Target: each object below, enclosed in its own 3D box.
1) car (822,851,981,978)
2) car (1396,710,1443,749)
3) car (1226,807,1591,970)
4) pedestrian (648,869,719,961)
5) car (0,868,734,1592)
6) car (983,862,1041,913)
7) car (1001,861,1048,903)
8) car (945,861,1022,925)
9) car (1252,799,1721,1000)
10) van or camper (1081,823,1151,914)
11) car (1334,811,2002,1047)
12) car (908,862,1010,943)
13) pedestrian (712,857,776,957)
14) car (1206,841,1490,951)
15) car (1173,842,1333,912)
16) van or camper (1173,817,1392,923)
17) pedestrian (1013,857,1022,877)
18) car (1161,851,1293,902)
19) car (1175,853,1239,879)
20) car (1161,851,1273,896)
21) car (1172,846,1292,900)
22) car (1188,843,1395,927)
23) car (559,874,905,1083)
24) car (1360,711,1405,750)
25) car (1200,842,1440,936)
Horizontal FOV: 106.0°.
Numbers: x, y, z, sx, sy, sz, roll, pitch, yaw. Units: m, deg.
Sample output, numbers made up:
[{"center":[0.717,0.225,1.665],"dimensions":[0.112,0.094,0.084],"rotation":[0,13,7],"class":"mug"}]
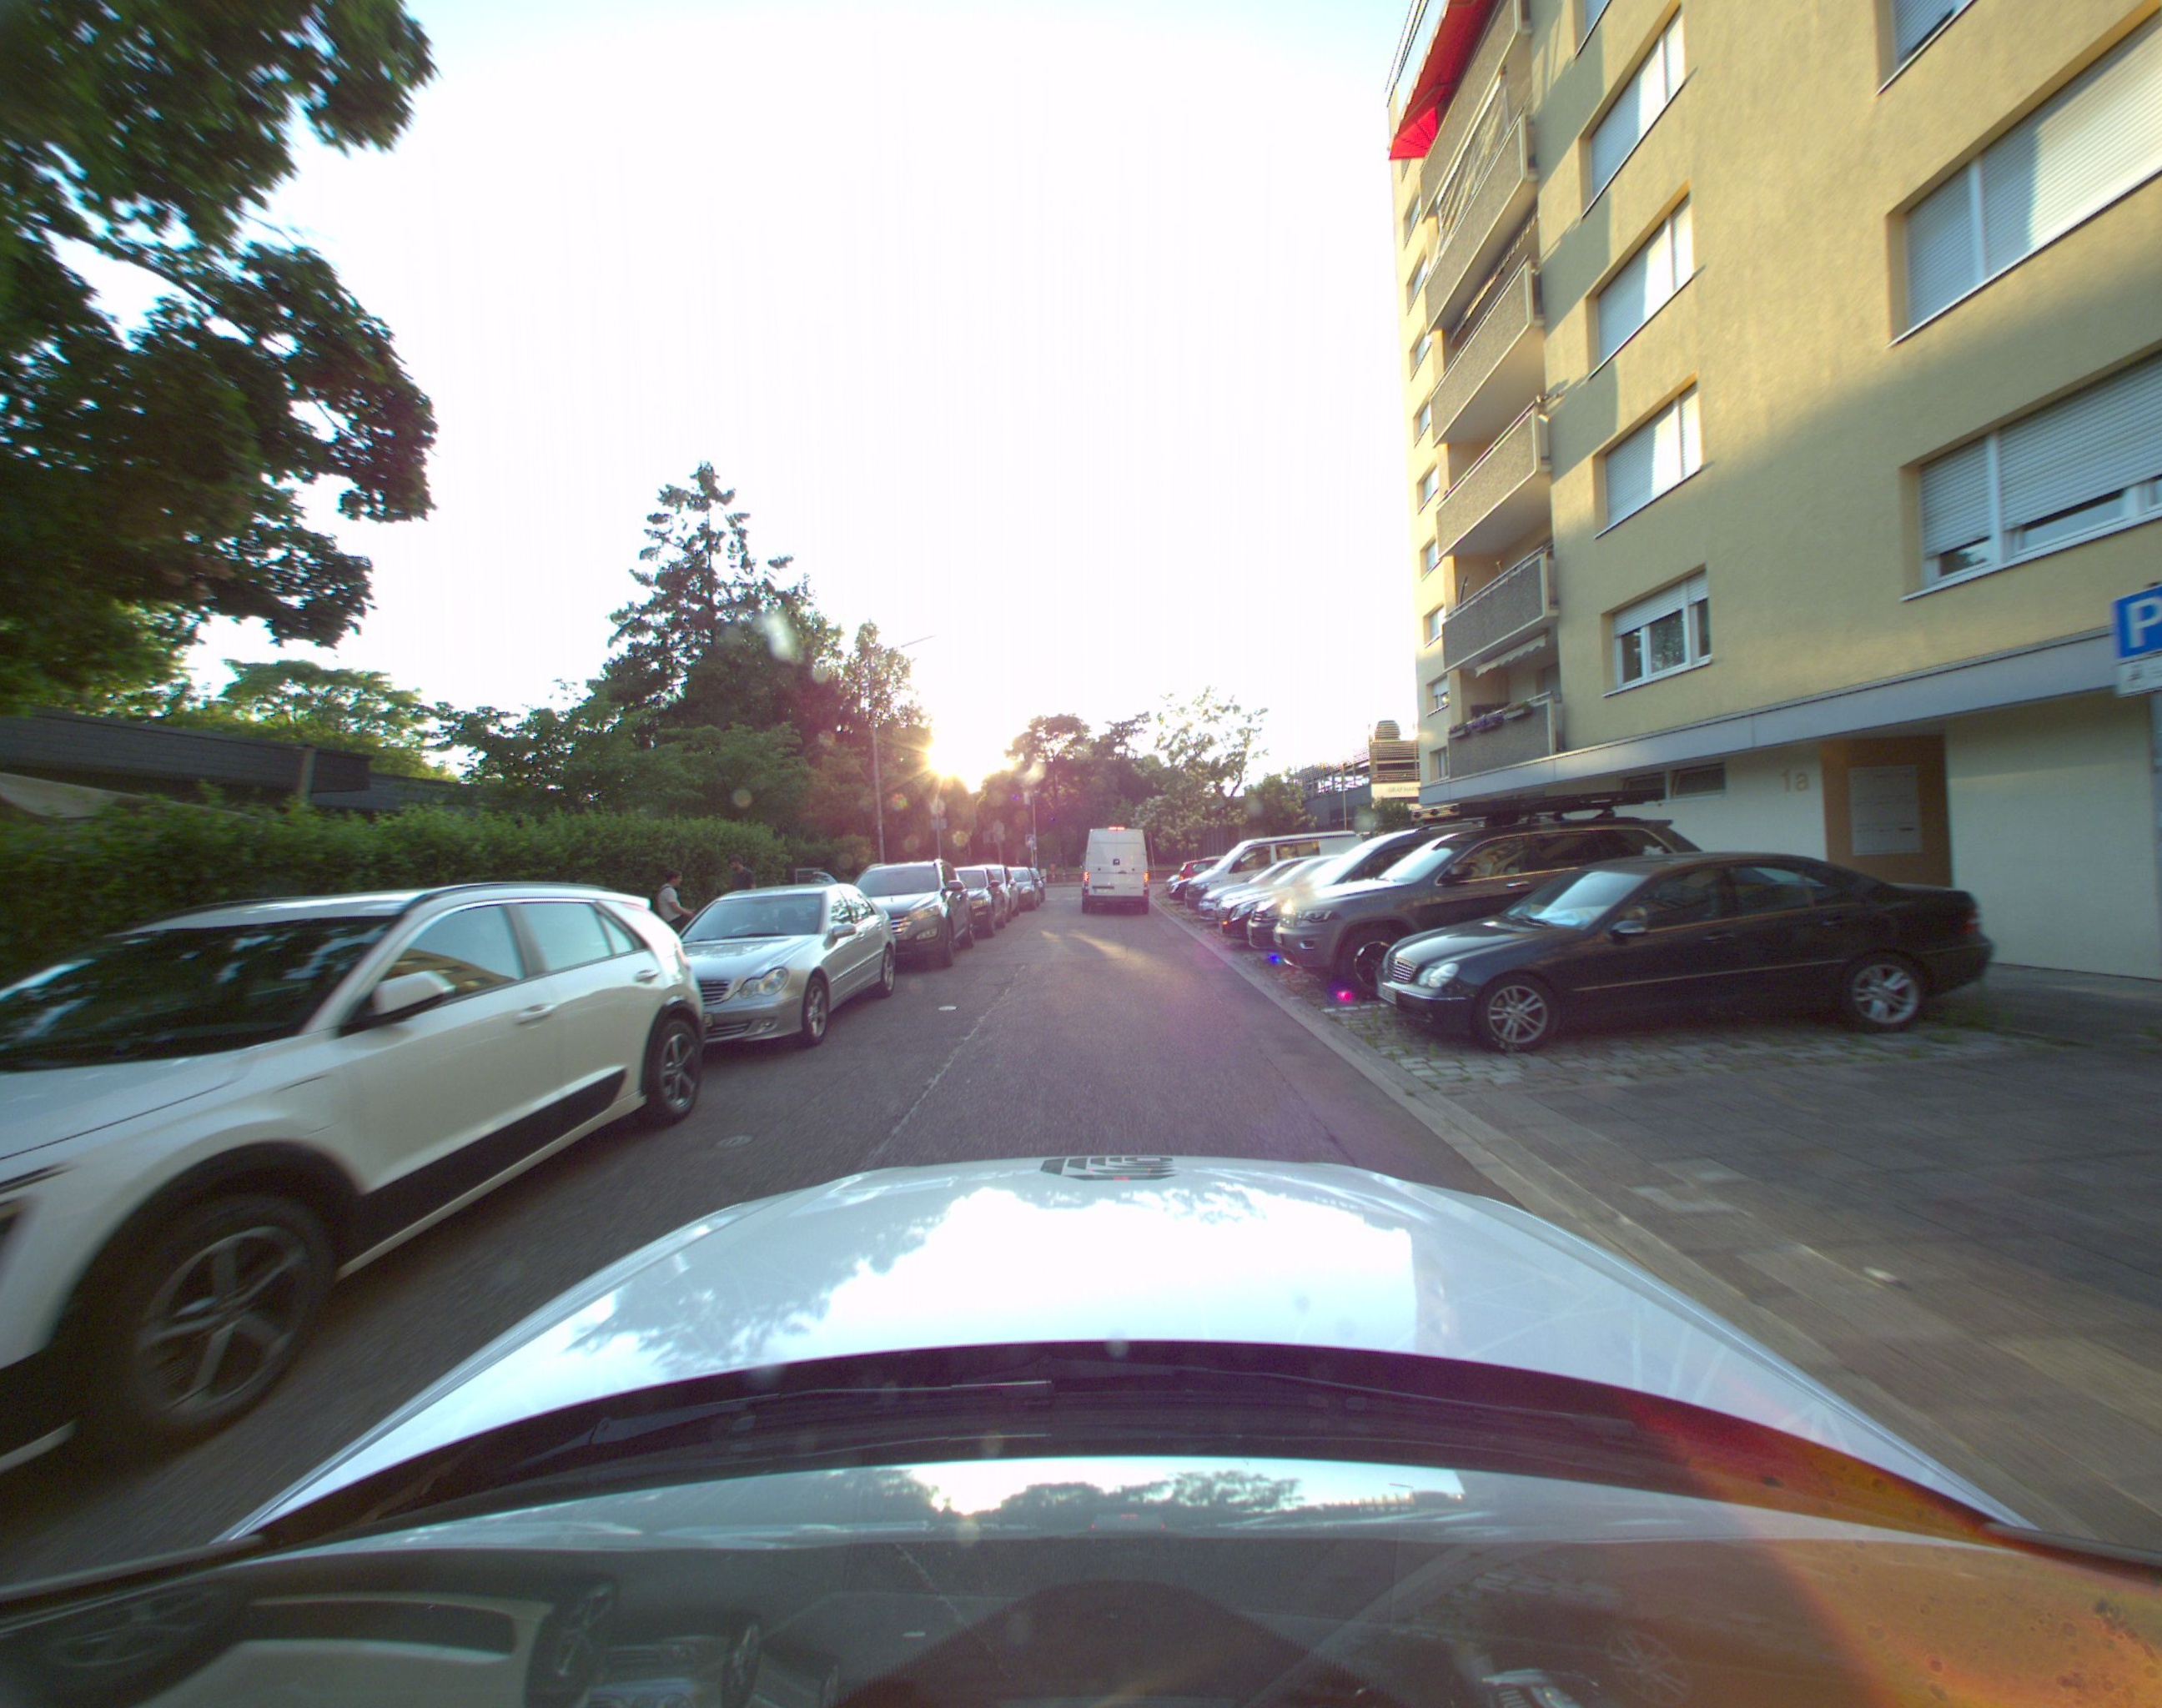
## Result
[{"center":[-2.848,0.888,13.893],"dimensions":[1.729,1.730,4.320],"rotation":[-3,0,-1],"class":"car"},{"center":[23.534,-8.603,56.740],"dimensions":[1.983,2.014,4.007],"rotation":[-1,-1,7],"class":"car"},{"center":[4.685,0.516,12.192],"dimensions":[4.621,1.981,1.845],"rotation":[-3,-3,1],"class":"car"},{"center":[-6.789,1.018,13.957],"dimensions":[0.745,1.508,0.901],"rotation":[1,-1,0],"class":"pedestrian"},{"center":[-3.303,0.900,3.523],"dimensions":[1.754,1.543,4.278],"rotation":[-3,0,-1],"class":"car"},{"center":[-2.362,1.111,28.727],"dimensions":[1.729,1.567,3.695],"rotation":[-3,0,-1],"class":"car"},{"center":[-2.334,1.119,34.395],"dimensions":[1.729,1.567,3.788],"rotation":[-3,0,-1],"class":"car"},{"center":[-2.724,1.050,23.525],"dimensions":[1.729,1.567,4.127],"rotation":[-3,0,-1],"class":"car"},{"center":[4.483,0.491,9.548],"dimensions":[4.497,1.863,1.846],"rotation":[-3,-1,1],"class":"car"},{"center":[1.105,0.448,27.015],"dimensions":[1.986,2.618,6.404],"rotation":[-1,-1,2],"class":"van or camper"},{"center":[4.718,0.620,7.152],"dimensions":[4.385,1.554,1.847],"rotation":[-3,-3,3],"class":"car"},{"center":[-2.705,1.020,18.960],"dimensions":[1.729,1.567,4.165],"rotation":[-3,0,-1],"class":"car"},{"center":[-6.059,0.922,14.648],"dimensions":[0.755,1.732,0.891],"rotation":[2,-1,-45],"class":"pedestrian"},{"center":[4.586,0.737,14.492],"dimensions":[4.388,1.563,1.845],"rotation":[-3,-3,1],"class":"car"},{"center":[5.085,0.700,24.445],"dimensions":[4.314,1.661,1.780],"rotation":[-5,-3,-1],"class":"car"},{"center":[5.202,0.423,21.543],"dimensions":[5.118,2.167,2.039],"rotation":[-6,-1,-1],"class":"van or camper"},{"center":[-5.064,1.042,65.353],"dimensions":[0.644,1.649,0.674],"rotation":[0,0,1],"class":"pedestrian"},{"center":[5.234,0.843,29.613],"dimensions":[4.391,1.531,1.844],"rotation":[-3,-3,-1],"class":"car"},{"center":[8.088,0.778,52.528],"dimensions":[3.843,1.574,1.957],"rotation":[-1,0,-1],"class":"car"},{"center":[5.762,0.847,34.929],"dimensions":[4.391,1.631,1.844],"rotation":[-3,-3,-1],"class":"car"},{"center":[5.929,0.736,32.363],"dimensions":[4.385,1.631,1.847],"rotation":[-6,-1,3],"class":"car"},{"center":[4.894,0.737,19.384],"dimensions":[4.388,1.631,1.845],"rotation":[-3,-3,1],"class":"car"},{"center":[-3.156,1.011,8.436],"dimensions":[1.729,1.427,4.284],"rotation":[-3,0,-1],"class":"car"},{"center":[20.970,-8.576,56.823],"dimensions":[1.983,2.014,4.007],"rotation":[-1,-1,7],"class":"car"},{"center":[4.834,0.717,16.932],"dimensions":[4.388,1.593,1.845],"rotation":[-3,-3,1],"class":"car"}]
